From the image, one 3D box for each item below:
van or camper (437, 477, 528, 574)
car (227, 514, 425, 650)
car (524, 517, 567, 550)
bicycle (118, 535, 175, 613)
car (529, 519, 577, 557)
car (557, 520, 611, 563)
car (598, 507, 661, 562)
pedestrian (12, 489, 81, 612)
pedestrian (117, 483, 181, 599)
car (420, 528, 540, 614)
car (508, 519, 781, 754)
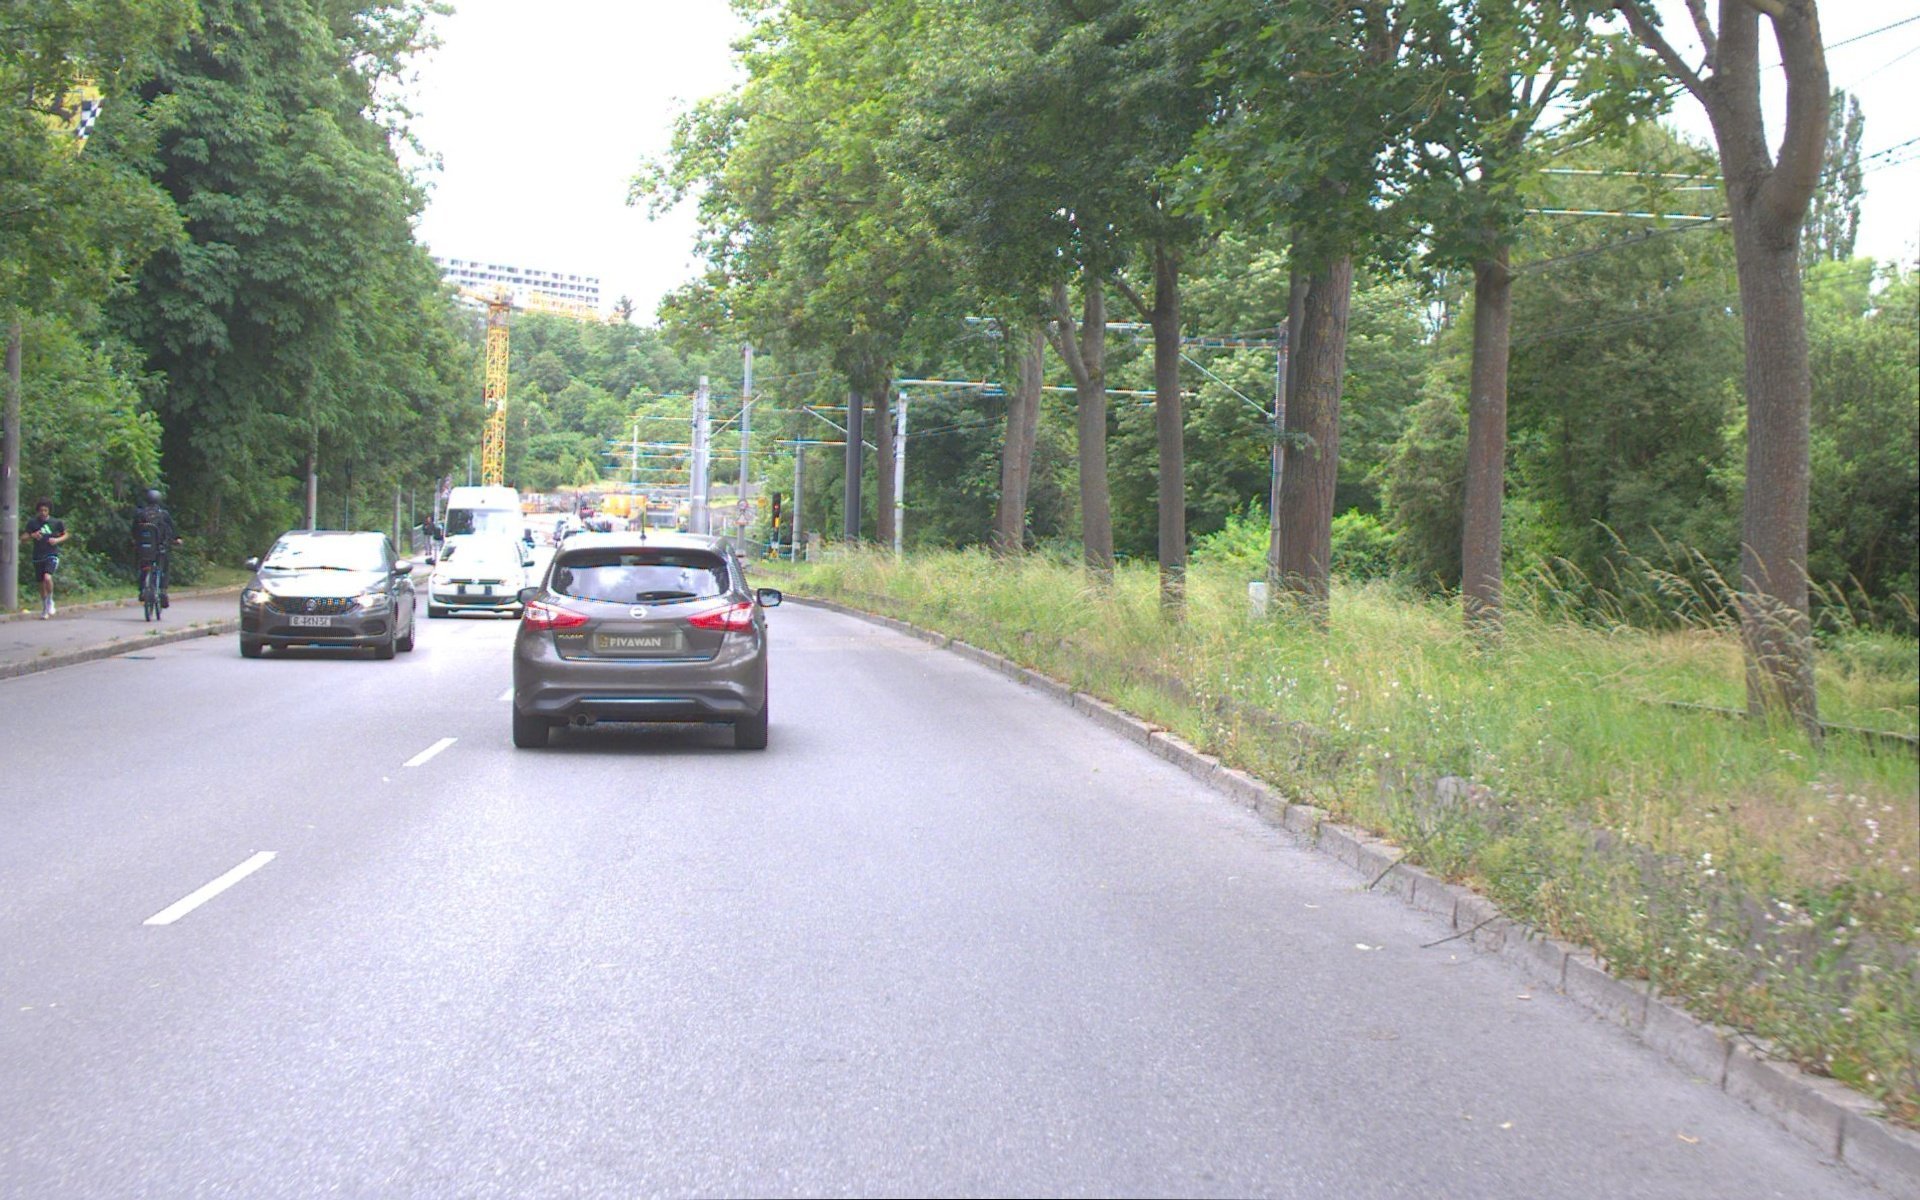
[{"bbox_3d":[-11.543,-1.830,83.295,1.925,2.143,3.933,3,2,-6],"label":"van or camper"},{"bbox_3d":[-7.501,-0.244,41.001,1.749,1.459,3.921,3,1,-3],"label":"car"},{"bbox_3d":[-20.676,-3.316,171.676,1.776,1.467,4.001,4,2,-3],"label":"car"},{"bbox_3d":[-11.407,-0.366,48.213,0.488,1.027,1.124,4,2,-1],"label":"bicycle"},{"bbox_3d":[-17.575,-2.691,148.621,1.776,1.467,4.001,2,2,-3],"label":"car"},{"bbox_3d":[-14.689,-2.293,134.438,1.776,1.467,4.001,4,2,-3],"label":"car"},{"bbox_3d":[-10.072,-2.018,105.073,1.775,1.467,4.001,3,2,-5],"label":"car"},{"bbox_3d":[-12.458,-0.682,46.900,0.695,1.616,0.684,4,2,-1],"label":"pedestrian"},{"bbox_3d":[-11.353,-0.832,48.156,0.617,1.566,0.849,4,2,-1],"label":"pedestrian"},{"bbox_3d":[-8.355,-0.524,60.037,1.724,1.326,3.476,2,2,-3],"label":"car"},{"bbox_3d":[-2.316,0.200,25.123,1.815,1.503,4.001,1,2,-6],"label":"car"}]
